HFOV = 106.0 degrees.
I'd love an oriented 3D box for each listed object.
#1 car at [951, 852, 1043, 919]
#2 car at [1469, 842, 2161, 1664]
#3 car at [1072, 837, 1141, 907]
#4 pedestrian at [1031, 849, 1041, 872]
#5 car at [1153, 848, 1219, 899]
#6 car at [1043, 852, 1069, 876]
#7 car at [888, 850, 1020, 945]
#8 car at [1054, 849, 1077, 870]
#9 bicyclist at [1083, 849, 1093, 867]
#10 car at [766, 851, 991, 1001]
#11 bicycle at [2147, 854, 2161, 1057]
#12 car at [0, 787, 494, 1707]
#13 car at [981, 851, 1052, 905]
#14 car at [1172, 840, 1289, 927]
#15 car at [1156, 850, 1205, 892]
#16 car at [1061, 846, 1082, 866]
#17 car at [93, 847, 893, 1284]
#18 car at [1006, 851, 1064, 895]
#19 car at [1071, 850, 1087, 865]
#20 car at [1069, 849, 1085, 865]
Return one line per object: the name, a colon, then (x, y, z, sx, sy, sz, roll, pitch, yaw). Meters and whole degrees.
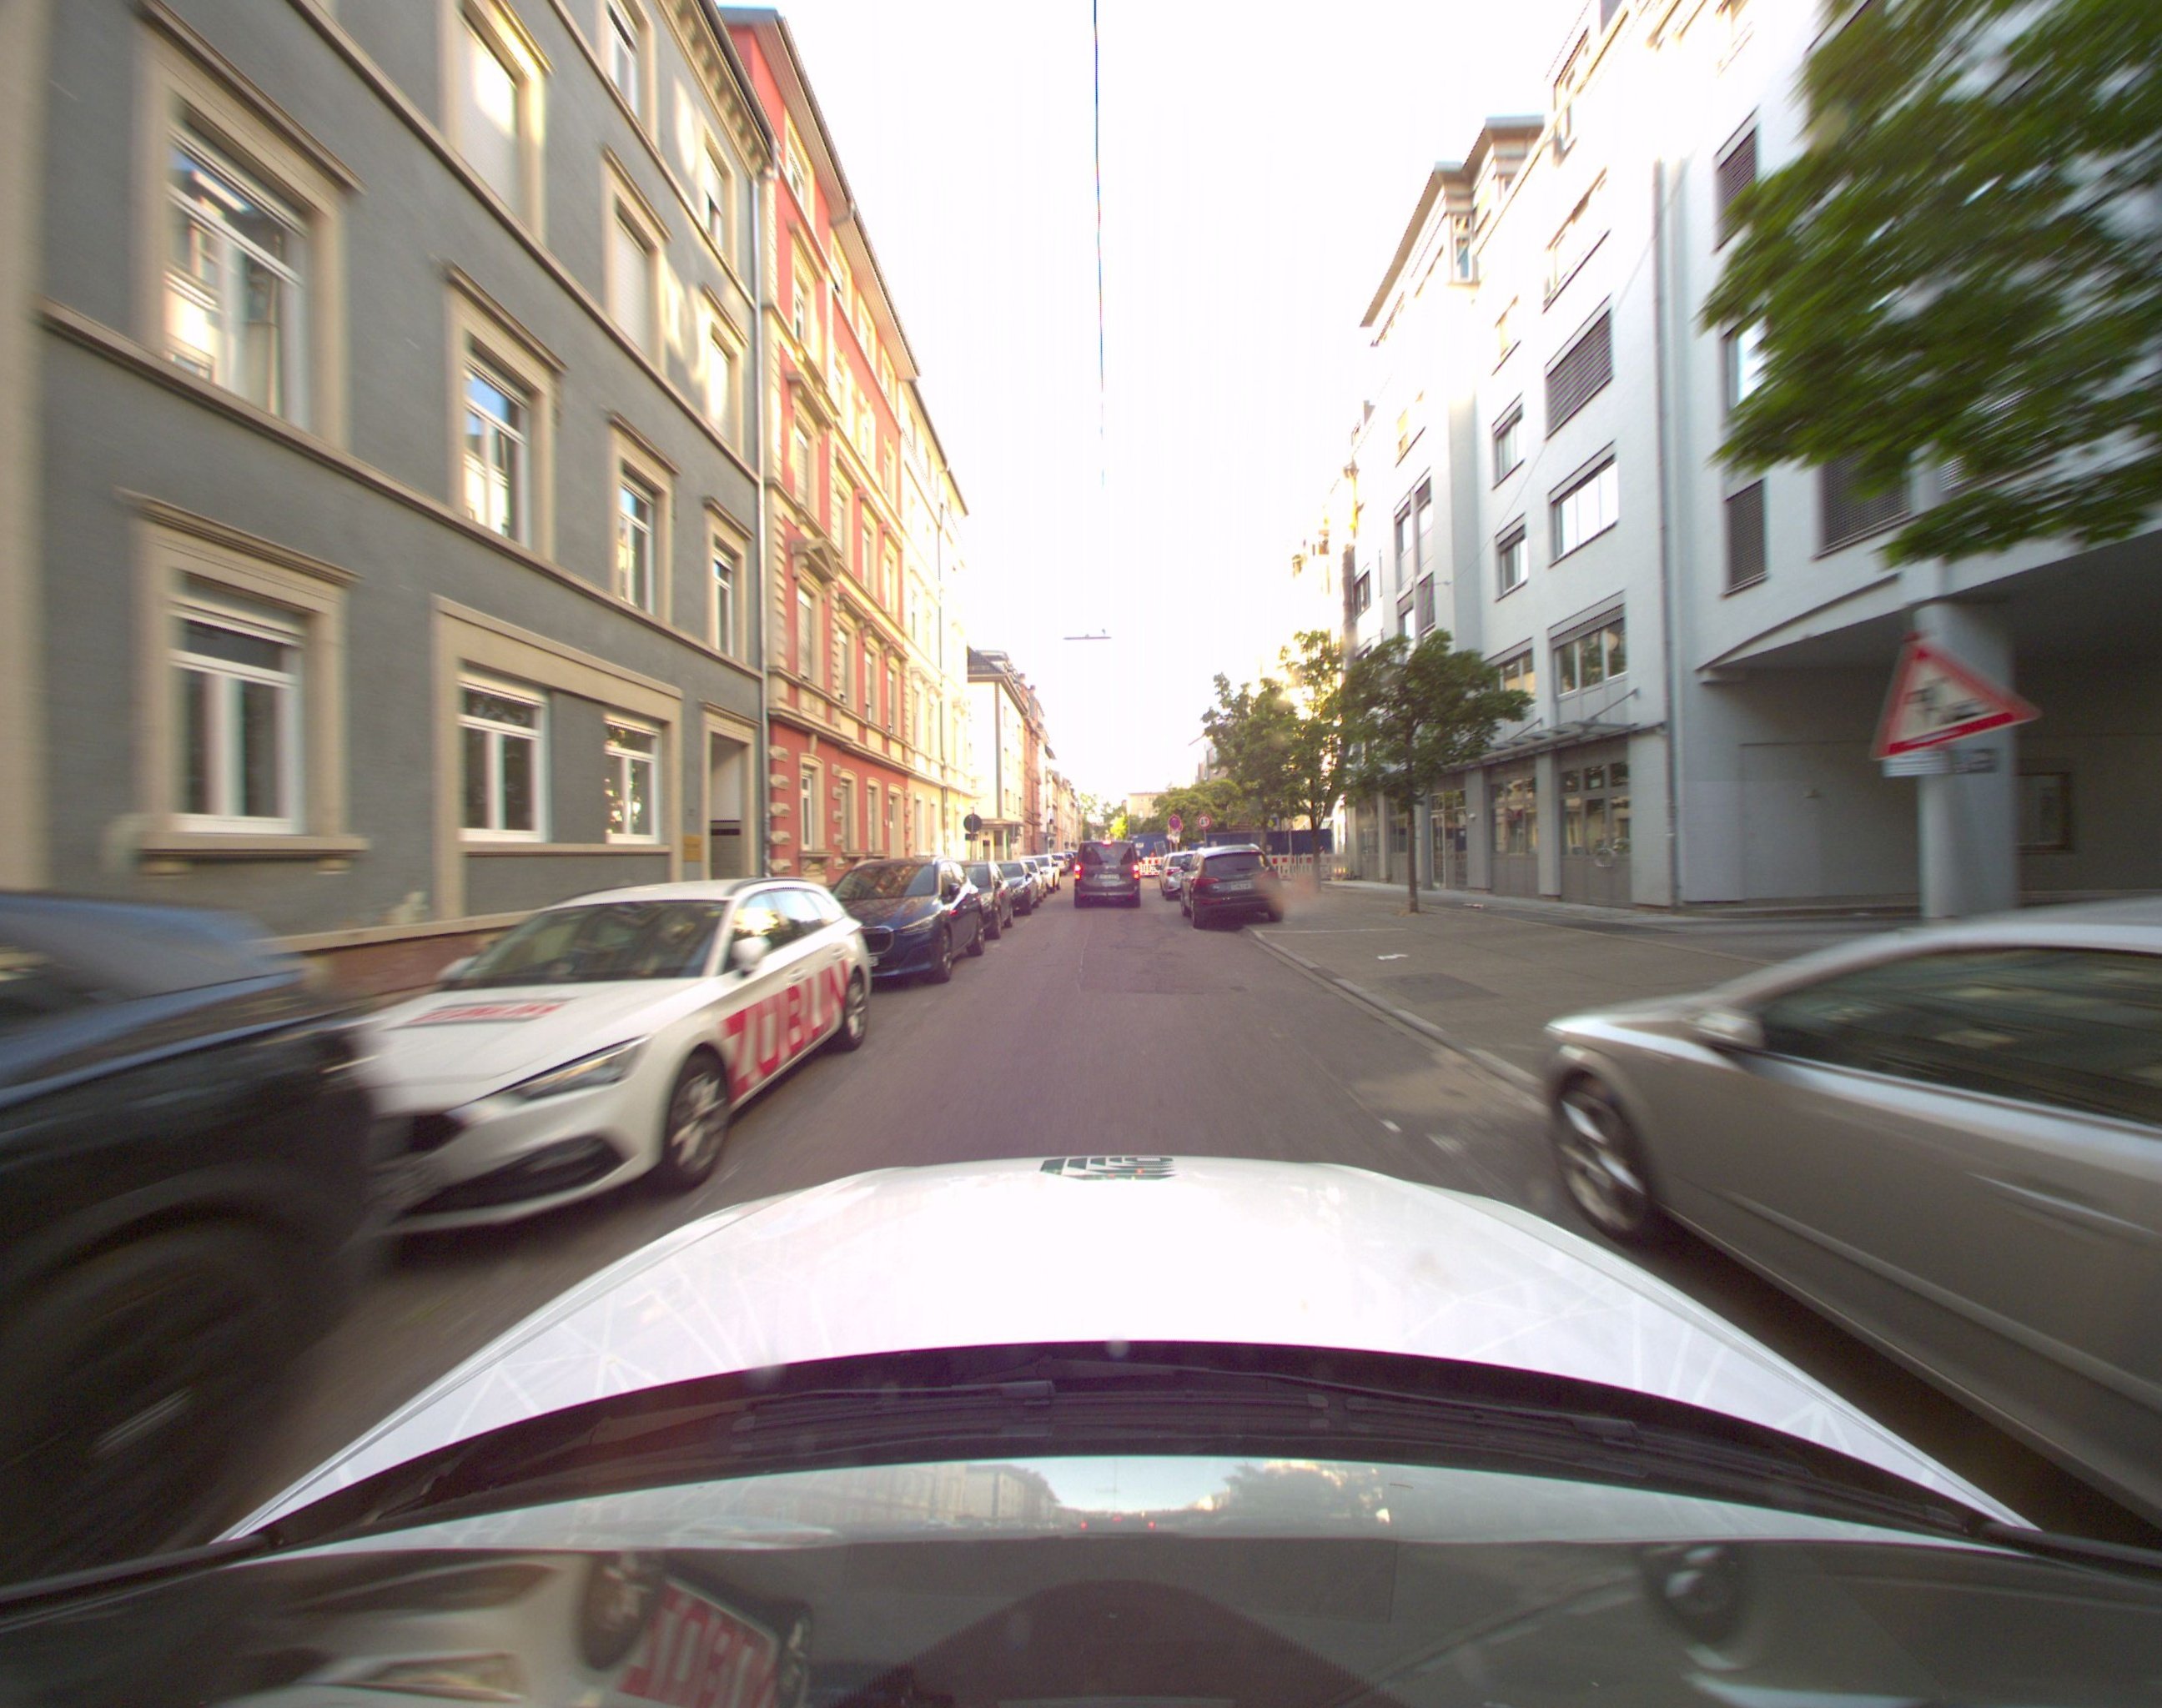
car: (-2.165, 0.773, 22.176, 1.914, 1.484, 4.268, -3, 0, 1)
car: (2.836, 0.721, 1.997, 1.757, 1.429, 4.347, -3, 0, 2)
car: (0.713, 0.498, 24.147, 1.859, 1.886, 4.235, 0, 0, 1)
pedestrian: (-3.304, 0.476, 59.906, 0.738, 1.664, 0.703, -1, 0, -3)
car: (3.454, 0.615, 27.464, 1.671, 1.525, 3.970, -3, 0, 1)
car: (-1.719, 0.681, 56.103, 1.651, 1.460, 3.415, 3, -1, -2)
car: (-2.427, 0.772, 16.705, 1.894, 1.560, 4.241, -3, 0, 1)
car: (-1.421, 0.495, 72.177, 1.886, 1.719, 3.751, 3, -1, -2)
bicyclist: (0.544, 0.315, 63.485, 0.729, 1.412, 0.941, 0, 0, 4)
car: (-2.530, 0.805, 11.358, 1.914, 1.560, 4.268, -3, 0, 1)
bicycle: (6.597, 0.568, 3.909, 0.520, 1.168, 1.735, -3, 0, -8)
car: (-2.932, 0.775, 0.384, 1.914, 1.663, 4.470, -3, 0, 1)
car: (-2.081, 0.746, 27.598, 1.914, 1.560, 4.268, -3, 0, 1)
car: (3.197, 0.588, 18.300, 1.878, 1.622, 4.436, -3, 0, 2)
car: (3.875, 0.618, 32.187, 1.669, 1.475, 3.734, -3, 0, 4)
car: (-0.963, 0.239, 81.545, 1.886, 1.846, 4.346, 3, -1, -2)
car: (-2.746, 0.791, 5.255, 1.914, 1.560, 4.268, -3, 0, 1)
car: (-1.797, 0.724, 32.999, 1.913, 1.507, 4.269, -3, 0, 2)
car: (-0.228, 0.424, 106.825, 1.886, 1.846, 4.346, 3, -1, -2)
car: (-0.540, 0.388, 101.729, 1.886, 1.846, 4.346, 3, -1, -2)
